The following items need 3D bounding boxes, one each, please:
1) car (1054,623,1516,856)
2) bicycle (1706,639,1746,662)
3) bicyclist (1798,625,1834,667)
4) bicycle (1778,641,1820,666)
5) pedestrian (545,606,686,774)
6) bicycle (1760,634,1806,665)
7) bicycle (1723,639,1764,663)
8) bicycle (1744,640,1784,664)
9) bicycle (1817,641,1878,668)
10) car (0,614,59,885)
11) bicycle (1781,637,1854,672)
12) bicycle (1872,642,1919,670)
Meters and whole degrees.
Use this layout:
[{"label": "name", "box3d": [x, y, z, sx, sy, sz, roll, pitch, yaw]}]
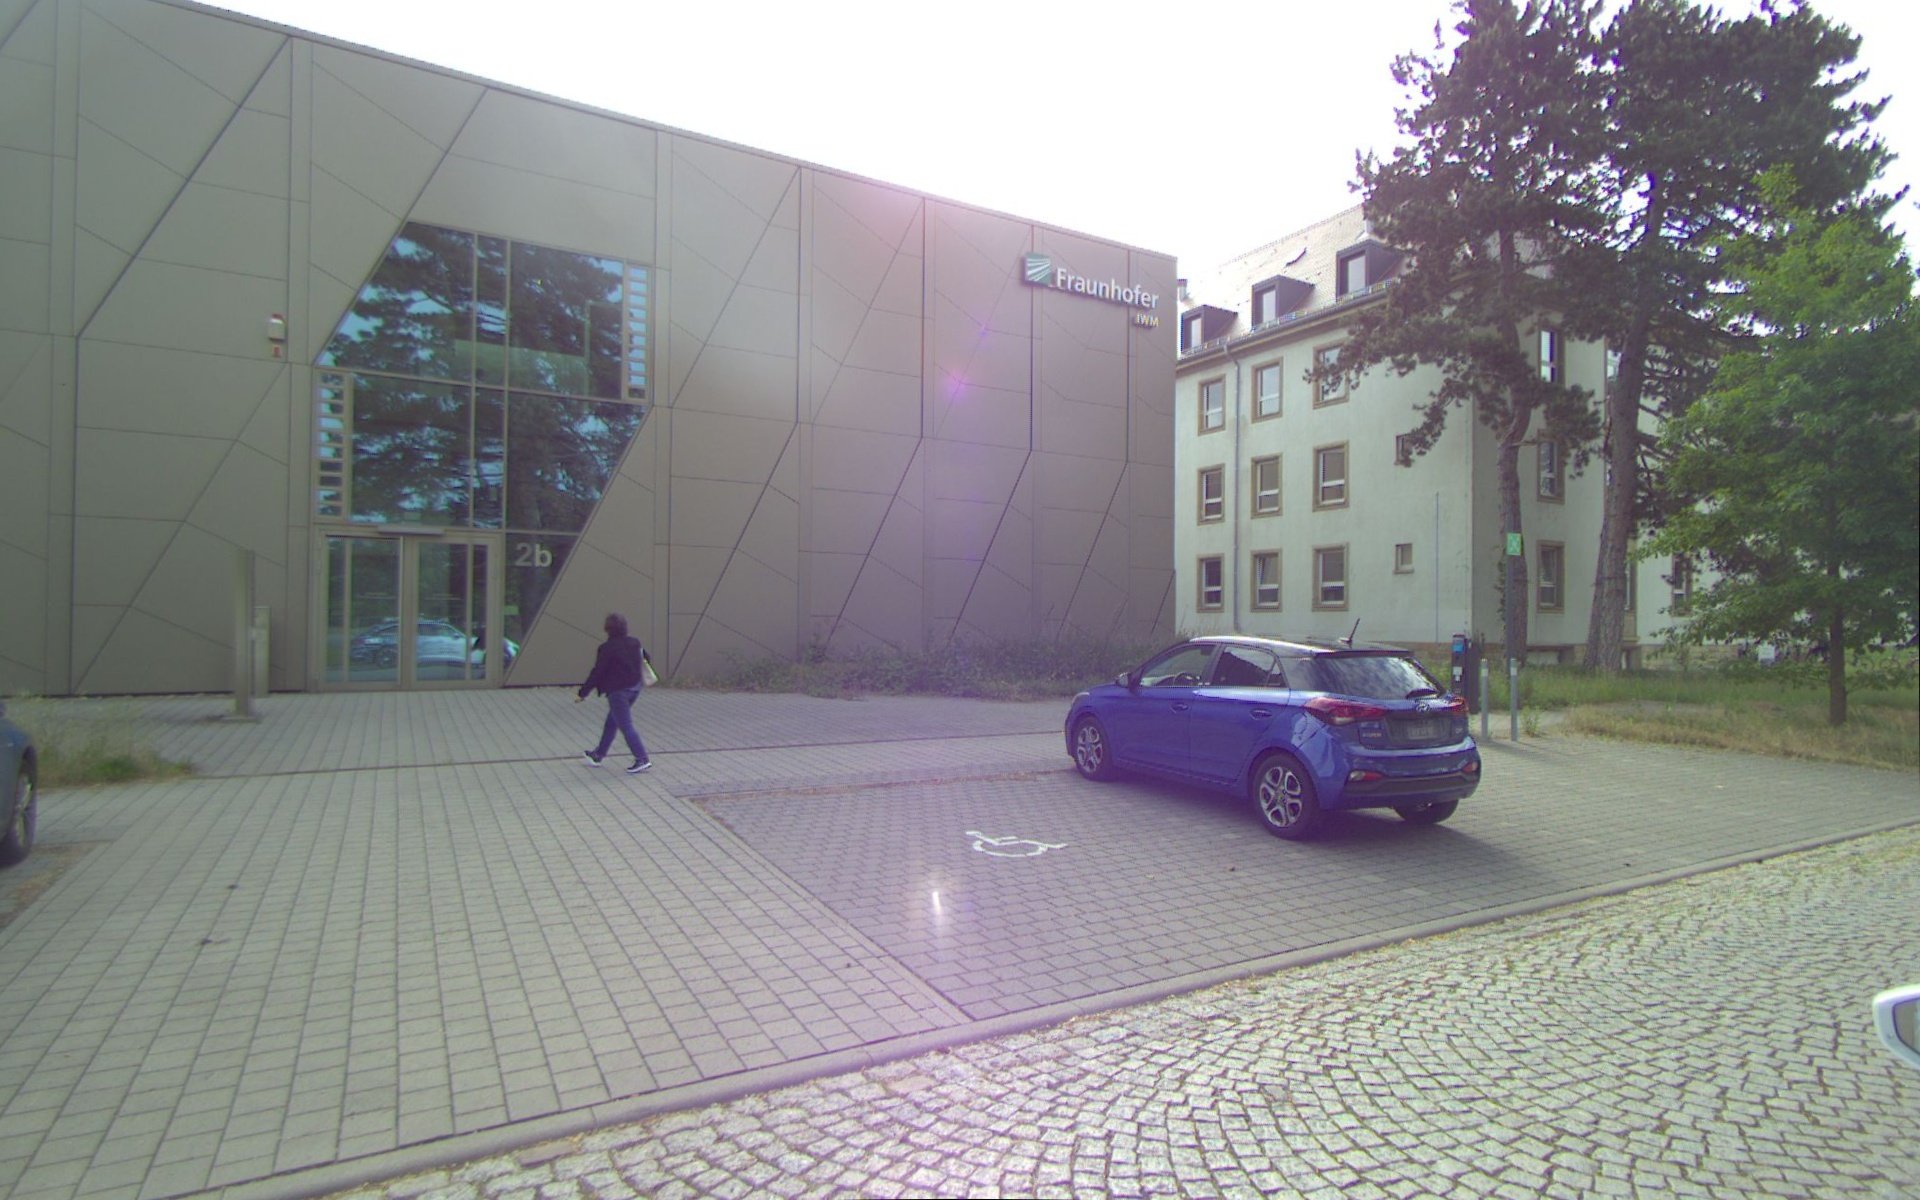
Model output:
[{"label": "car", "box3d": [2.621, 1.012, 8.985, 1.828, 1.497, 3.752, 1, 0, -27]}, {"label": "bicycle", "box3d": [36.996, 2.432, 48.488, 2.246, 1.090, 0.732, 1, -2, -30]}, {"label": "bicyclist", "box3d": [35.701, 1.914, 41.913, 0.947, 1.719, 0.915, 2, -2, -33]}, {"label": "bicycle", "box3d": [38.368, 2.426, 45.914, 2.246, 1.090, 0.732, 1, -2, -30]}, {"label": "pedestrian", "box3d": [-3.260, 0.822, 9.563, 0.966, 1.514, 0.819, 0, -1, 13]}, {"label": "bicycle", "box3d": [38.313, 2.297, 46.744, 2.679, 1.404, 0.732, 1, -2, -30]}, {"label": "bicycle", "box3d": [37.288, 2.420, 47.813, 2.246, 1.090, 0.732, 1, -2, -30]}, {"label": "bicycle", "box3d": [38.019, 2.447, 47.496, 2.246, 1.090, 0.732, 1, -2, -30]}, {"label": "bicycle", "box3d": [38.397, 2.345, 43.469, 0.729, 1.090, 1.849, 1, -2, -27]}, {"label": "car", "box3d": [-5.510, 0.815, 4.294, 1.755, 1.447, 4.280, 1, 0, -32]}, {"label": "bicycle", "box3d": [35.717, 2.251, 41.859, 0.929, 1.405, 2.166, 1, -2, -33]}, {"label": "bicycle", "box3d": [39.340, 2.323, 41.841, 0.821, 1.090, 1.849, 1, -2, -27]}]
